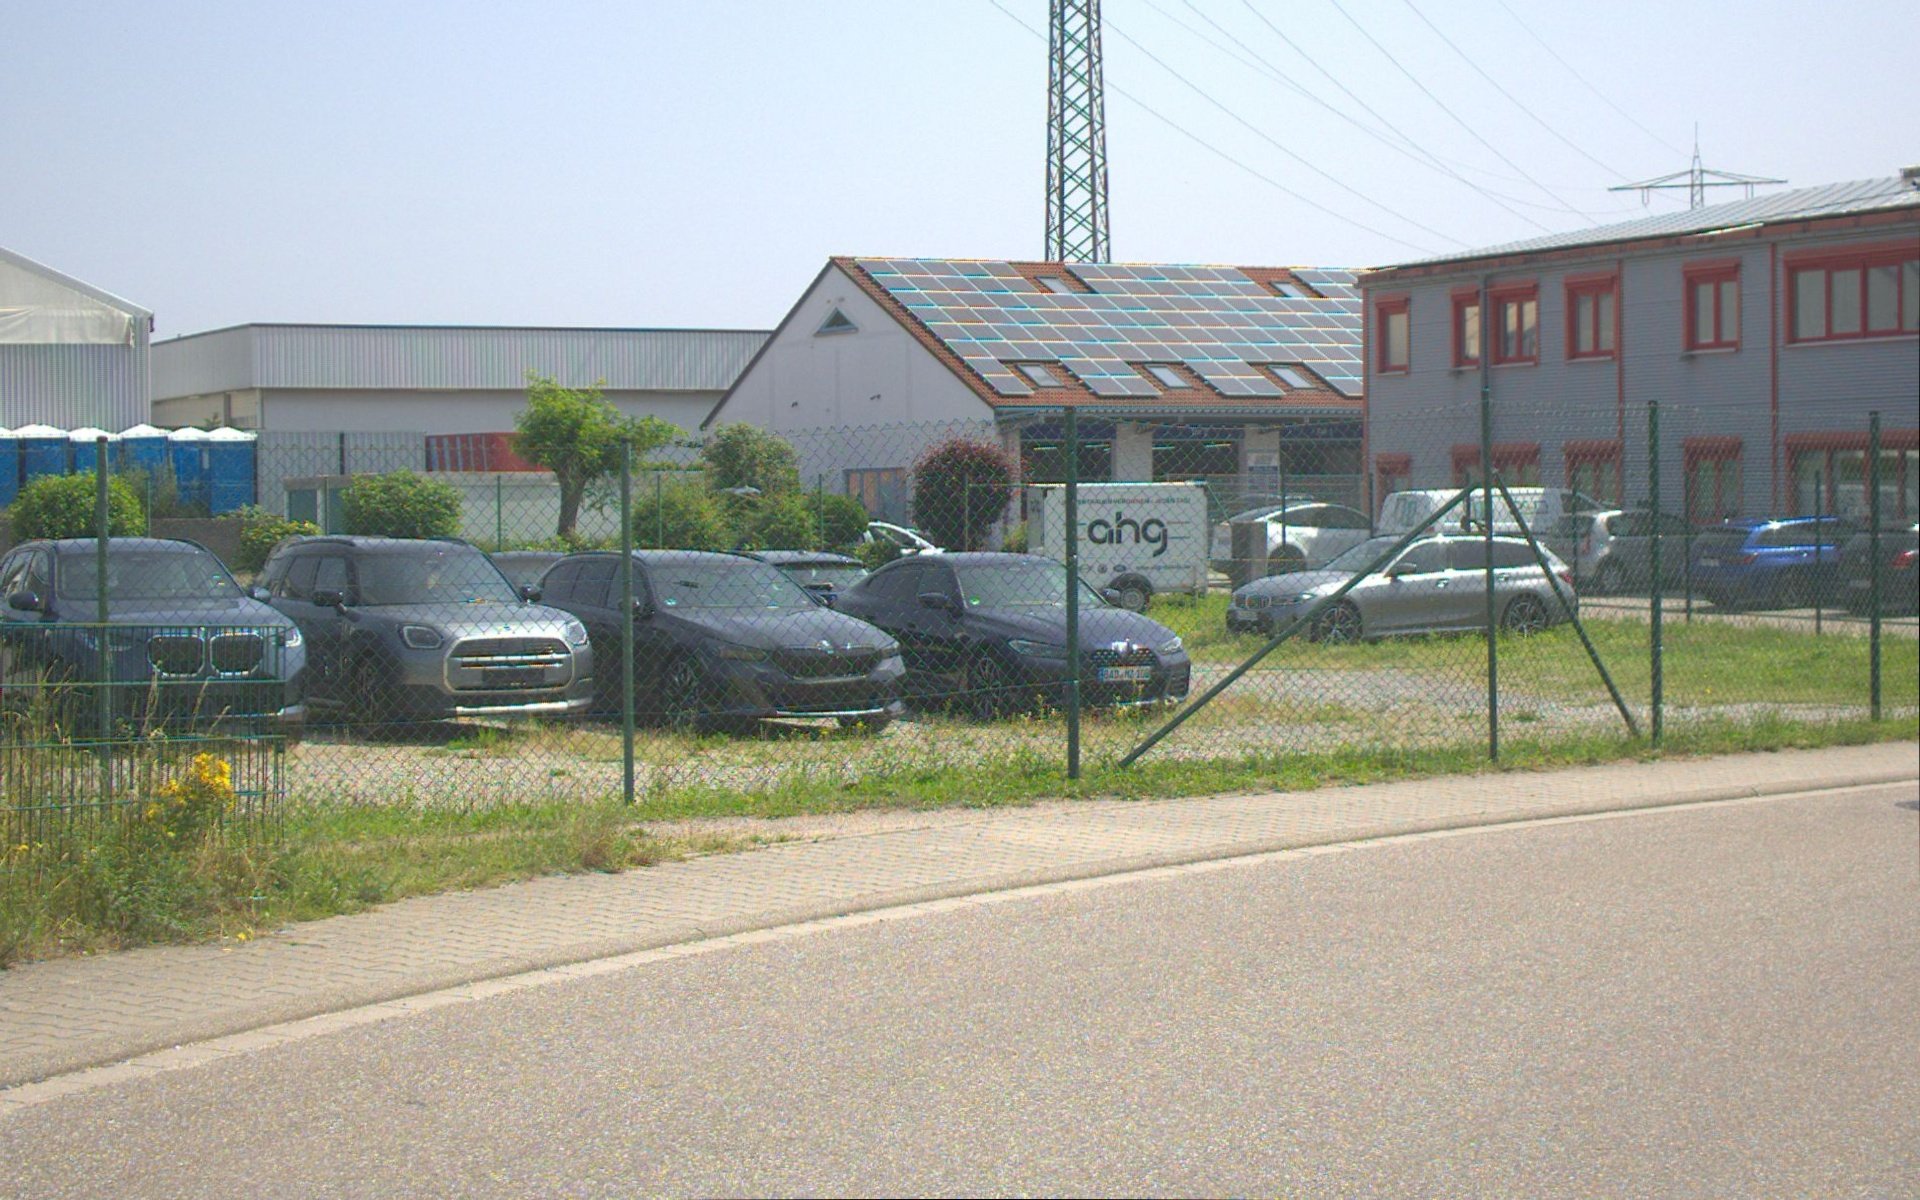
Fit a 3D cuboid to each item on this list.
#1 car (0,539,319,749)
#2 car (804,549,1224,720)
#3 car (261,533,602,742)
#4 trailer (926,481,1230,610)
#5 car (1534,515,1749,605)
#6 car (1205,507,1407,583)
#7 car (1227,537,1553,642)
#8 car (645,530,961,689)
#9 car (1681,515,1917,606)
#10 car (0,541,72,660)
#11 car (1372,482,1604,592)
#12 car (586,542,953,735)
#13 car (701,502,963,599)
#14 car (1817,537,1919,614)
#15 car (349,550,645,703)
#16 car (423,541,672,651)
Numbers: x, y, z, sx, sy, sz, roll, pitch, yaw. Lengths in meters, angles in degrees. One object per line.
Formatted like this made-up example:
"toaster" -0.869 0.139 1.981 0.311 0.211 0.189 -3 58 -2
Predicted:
"car" -6.559 0.293 27.611 1.862 1.556 3.698 -1 1 -26
"car" 0.397 0.258 31.743 1.995 1.430 4.666 -1 1 -26
"car" -4.534 0.258 29.117 1.862 1.638 3.635 -1 1 -26
"trailer" 1.811 -0.861 53.376 4.446 1.938 1.715 -1 2 -11
"car" 12.170 -0.734 61.343 3.591 1.538 1.508 -1 2 -26
"car" 7.069 -1.134 70.126 3.893 1.510 1.508 -1 2 -26
"car" 5.493 -0.158 43.800 4.128 1.256 1.235 -1 2 -26
"car" -1.742 0.046 36.480 1.995 1.430 4.424 -1 3 -22
"car" 13.594 -0.656 55.683 3.591 1.411 1.508 -1 2 -26
"car" -12.681 -0.026 43.328 1.995 1.430 4.666 -1 1 -26
"car" 9.754 -1.189 63.470 3.893 1.972 1.824 -1 2 -26
"car" -1.717 0.275 29.758 1.862 1.549 3.771 -1 1 -26
"car" -2.158 -0.850 57.921 3.986 1.593 1.877 -1 1 -24
"car" 15.228 -0.406 53.376 3.591 1.147 1.508 -1 2 -26
"car" -4.826 0.219 35.376 1.993 1.415 4.001 -1 2 -23
"car" -5.747 -0.093 47.392 1.995 1.430 4.666 -1 1 -26
